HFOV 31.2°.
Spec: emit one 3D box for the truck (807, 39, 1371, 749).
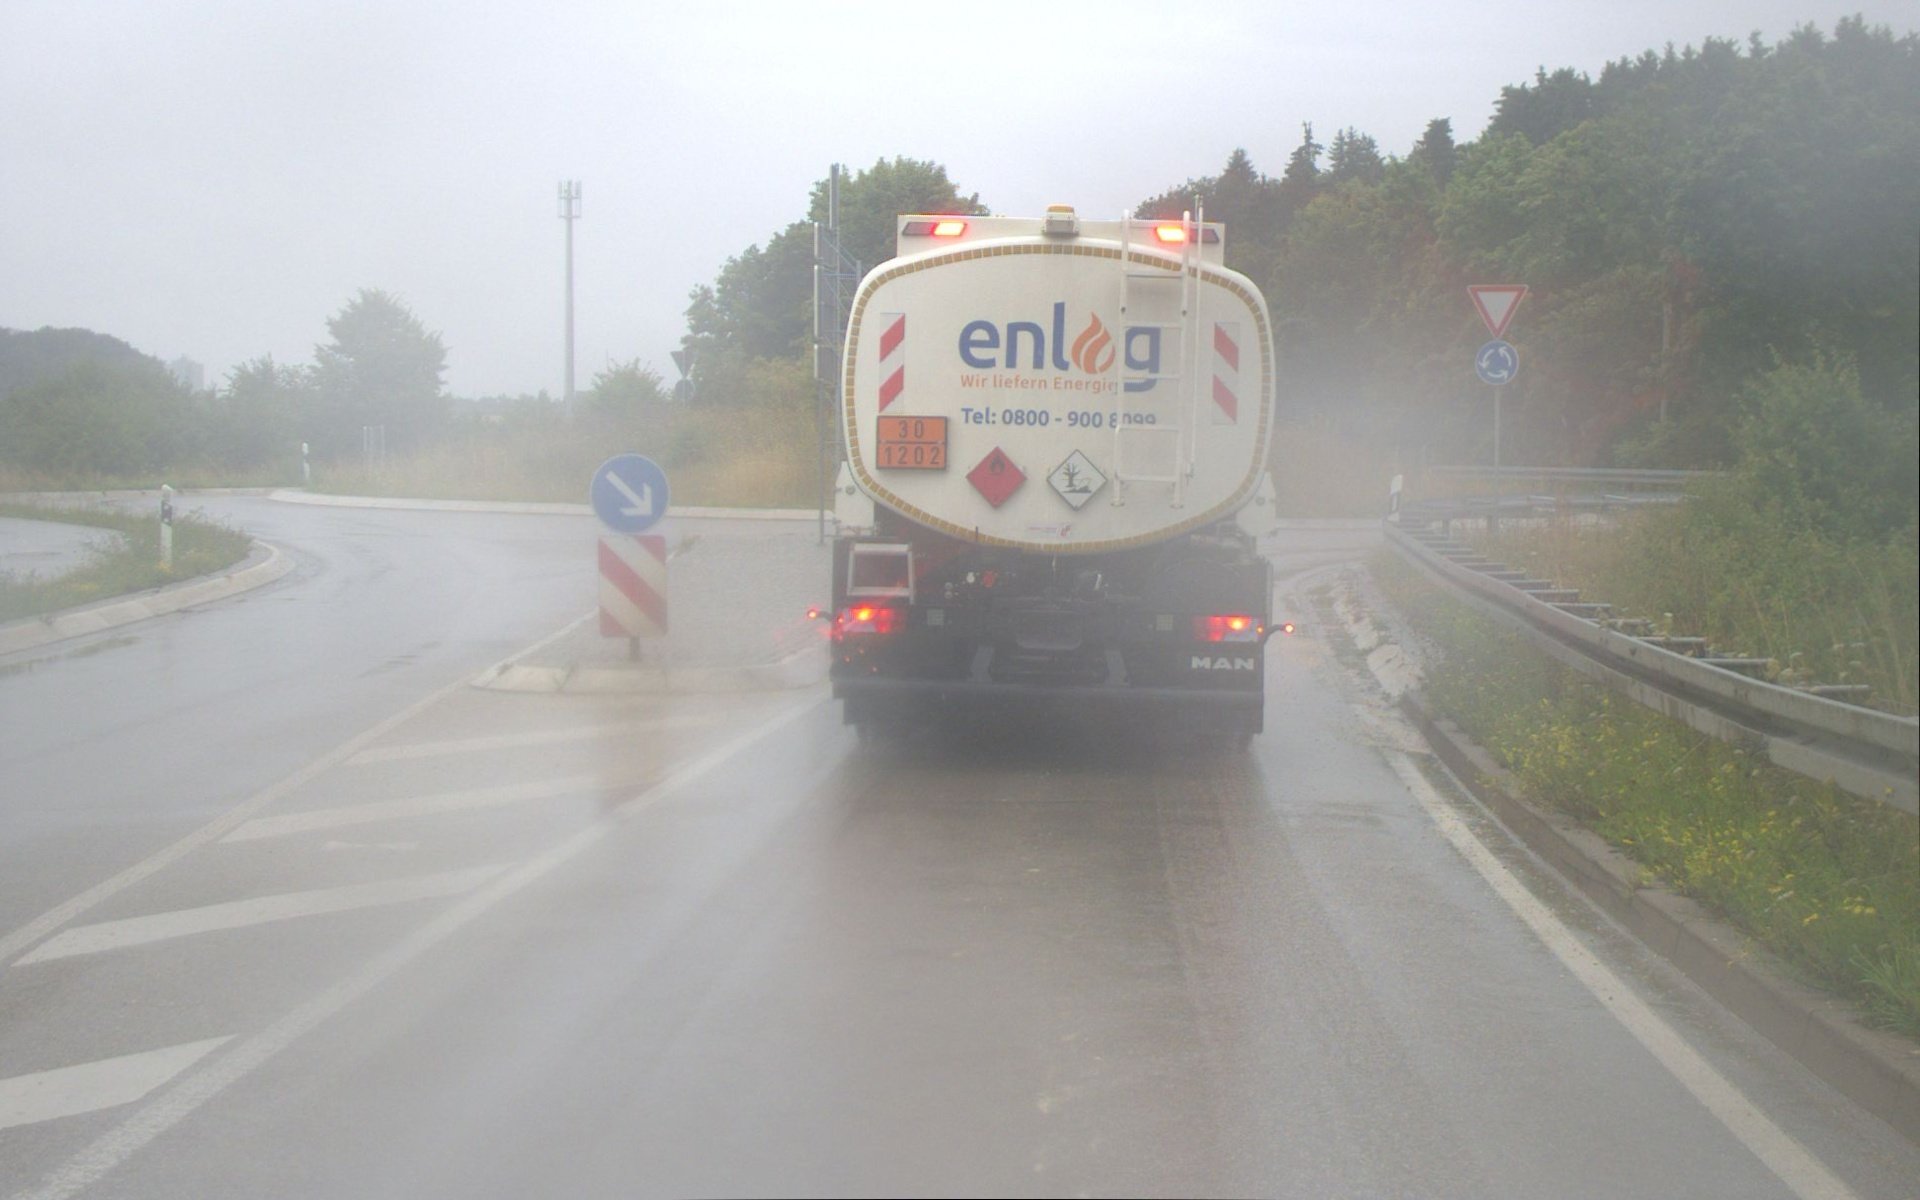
[{"bbox_3d":[0.888,-1.325,23.093,3.039,3.838,8.823,0,3,3],"label":"truck"}]
